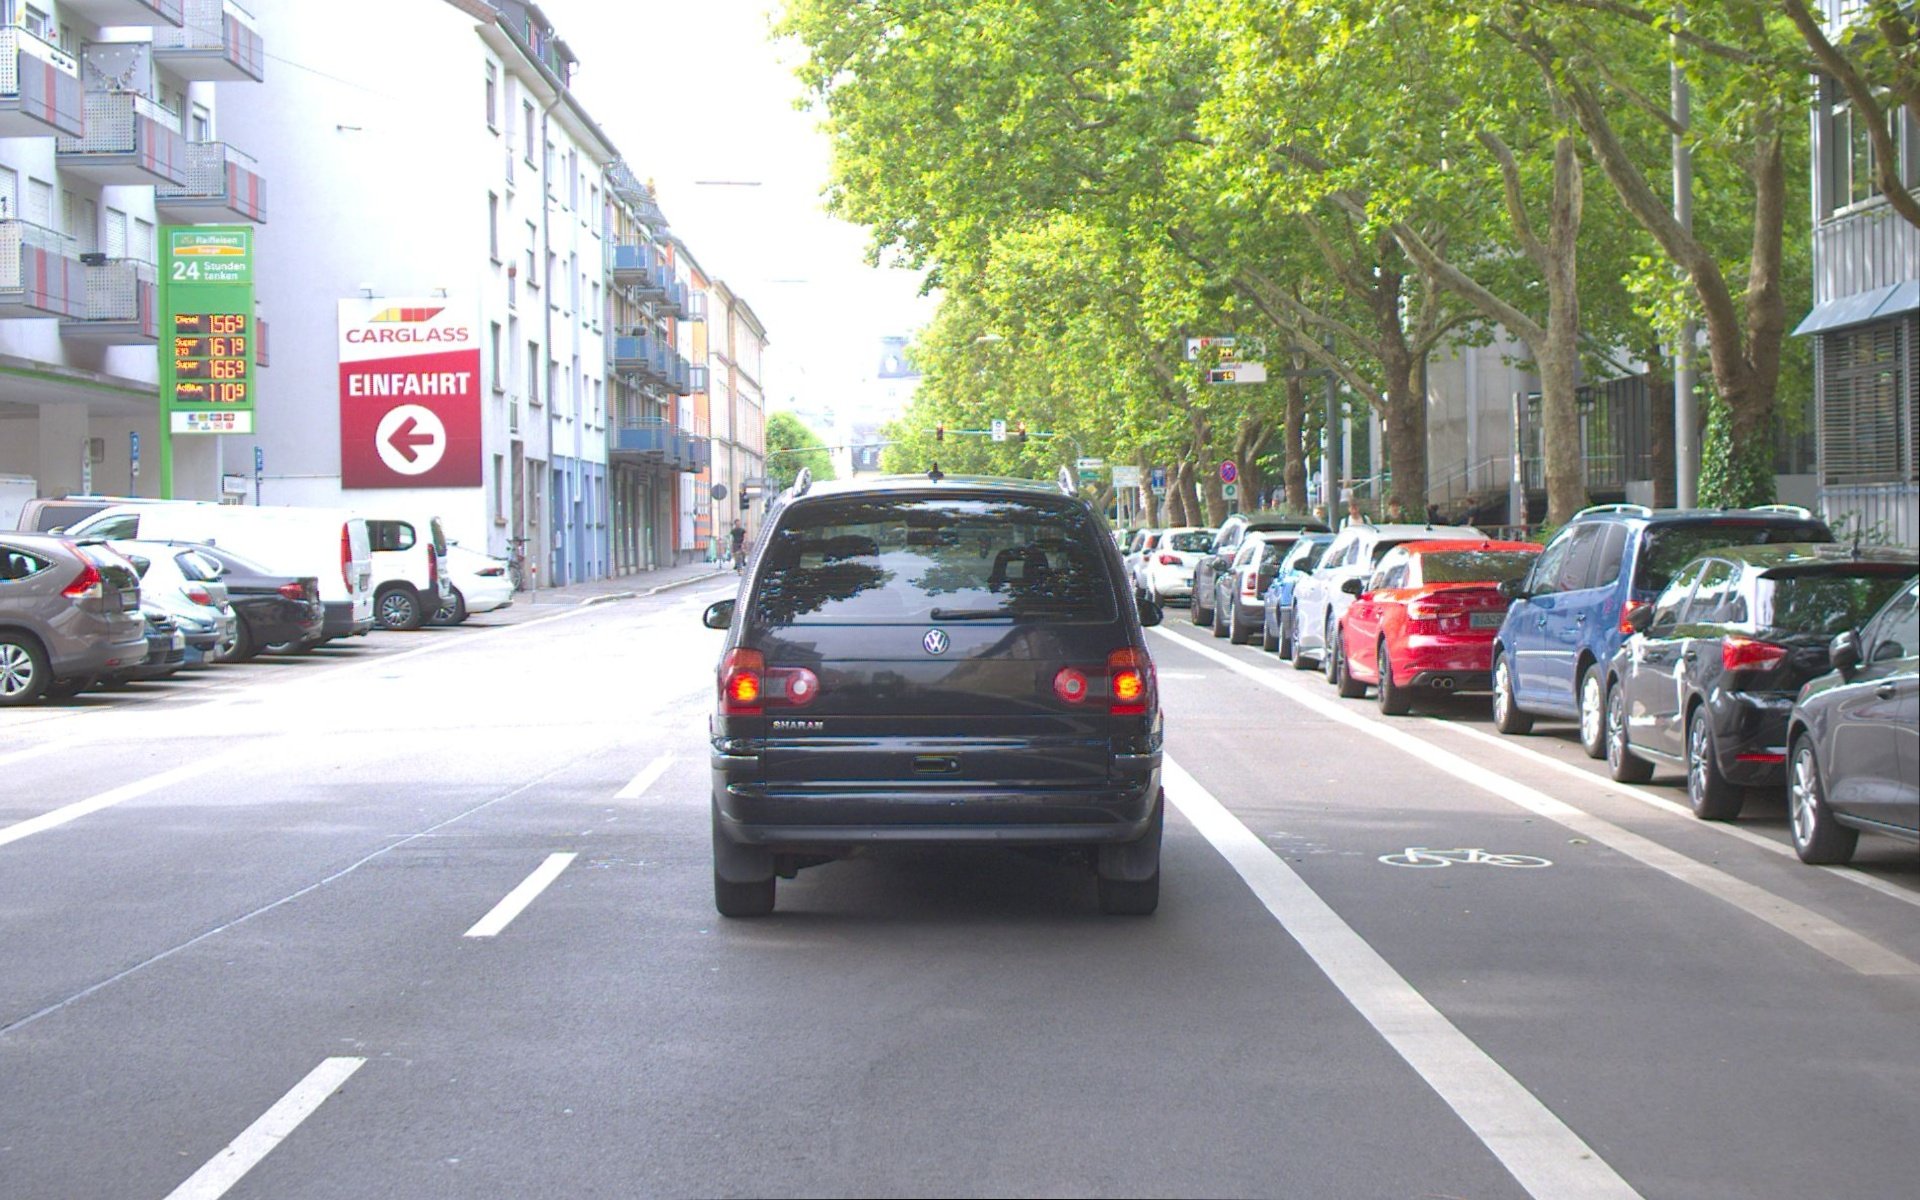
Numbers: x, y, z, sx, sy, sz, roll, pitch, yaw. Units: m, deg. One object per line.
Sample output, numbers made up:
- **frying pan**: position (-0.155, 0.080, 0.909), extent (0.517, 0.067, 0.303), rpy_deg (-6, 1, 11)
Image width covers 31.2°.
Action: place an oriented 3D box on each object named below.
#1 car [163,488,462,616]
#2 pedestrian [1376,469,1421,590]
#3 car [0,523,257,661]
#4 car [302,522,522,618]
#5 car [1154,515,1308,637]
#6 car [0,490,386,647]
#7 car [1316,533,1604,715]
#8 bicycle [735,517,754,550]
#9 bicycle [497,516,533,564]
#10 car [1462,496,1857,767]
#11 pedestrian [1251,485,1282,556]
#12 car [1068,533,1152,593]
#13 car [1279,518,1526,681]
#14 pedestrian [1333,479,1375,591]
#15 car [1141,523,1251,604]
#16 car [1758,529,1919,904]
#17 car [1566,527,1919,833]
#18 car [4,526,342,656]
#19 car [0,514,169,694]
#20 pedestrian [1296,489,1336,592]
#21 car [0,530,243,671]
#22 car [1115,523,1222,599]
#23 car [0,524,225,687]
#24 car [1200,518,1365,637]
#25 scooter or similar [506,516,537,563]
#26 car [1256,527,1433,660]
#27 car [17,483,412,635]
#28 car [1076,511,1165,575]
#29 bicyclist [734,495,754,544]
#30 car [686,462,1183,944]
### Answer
- **car**: position (-10.040, -0.751, 53.514), extent (4.307, 1.863, 1.824), rpy_deg (1, 1, -2)
- **pedestrian**: position (7.242, -1.171, 56.791), extent (0.643, 1.968, 0.692), rpy_deg (1, 3, 1)
- **car**: position (-10.118, -0.116, 39.585), extent (3.682, 1.480, 1.753), rpy_deg (1, 2, -1)
- **car**: position (-8.886, -0.493, 55.894), extent (3.342, 1.491, 1.596), rpy_deg (1, 1, -2)
- **car**: position (3.897, -0.394, 50.047), extent (1.668, 1.635, 4.504), rpy_deg (2, 1, -2)
- **car**: position (-9.839, -0.422, 44.205), extent (4.526, 1.872, 2.047), rpy_deg (1, 2, 1)
- **car**: position (4.126, 0.147, 29.010), extent (1.675, 1.389, 4.461), rpy_deg (0, 1, -1)
- **bicycle**: position (-7.317, -2.259, 116.784), extent (0.631, 1.030, 2.015), rpy_deg (0, -1, -3)
- **bicycle**: position (-9.673, -1.305, 74.783), extent (0.631, 1.030, 2.016), rpy_deg (0, 1, -4)
- **car**: position (4.762, 0.137, 24.033), extent (1.657, 1.645, 4.421), rpy_deg (1, 2, -2)
- **pedestrian**: position (7.921, -2.065, 88.907), extent (0.767, 1.825, 0.516), rpy_deg (0, 1, 1)
- **car**: position (3.657, -0.922, 84.292), extent (1.641, 1.390, 3.513), rpy_deg (1, 2, -4)
- **car**: position (4.349, -0.060, 34.467), extent (1.727, 1.511, 4.872), rpy_deg (0, 1, -1)
- **pedestrian**: position (6.549, -1.086, 57.136), extent (0.587, 1.832, 0.692), rpy_deg (1, 3, 1)
- **car**: position (4.292, -0.701, 63.102), extent (1.675, 1.389, 4.461), rpy_deg (1, 2, 0)
- **car**: position (4.603, 0.453, 14.185), extent (1.657, 1.417, 3.867), rpy_deg (-1, 2, -1)
- **car**: position (4.578, 0.359, 19.110), extent (1.657, 1.417, 3.947), rpy_deg (-1, 2, -1)
- **car**: position (-9.484, -0.130, 41.604), extent (3.682, 1.439, 1.753), rpy_deg (1, 2, -1)
- **car**: position (-9.925, -0.002, 32.867), extent (4.256, 1.600, 1.968), rpy_deg (1, 3, 1)
- **pedestrian**: position (5.905, -0.991, 57.094), extent (0.587, 1.696, 0.508), rpy_deg (1, 3, 1)
- **car**: position (-9.871, -0.025, 37.640), extent (3.682, 1.421, 1.753), rpy_deg (1, 2, -1)
- **car**: position (4.089, -0.792, 67.845), extent (1.641, 1.408, 3.417), rpy_deg (1, 2, -4)
- **car**: position (-9.761, 0.017, 35.434), extent (3.941, 1.564, 1.753), rpy_deg (1, 2, 2)
- **car**: position (4.145, -0.328, 44.708), extent (1.630, 1.465, 4.318), rpy_deg (0, 1, -1)
- **scooter or similar**: position (-9.815, -1.358, 76.922), extent (0.631, 1.030, 2.016), rpy_deg (-1, 2, -6)
- **car**: position (4.408, -0.113, 39.906), extent (1.622, 1.381, 4.000), rpy_deg (2, 2, 1)
- **car**: position (-10.092, -0.570, 46.810), extent (4.916, 1.896, 2.000), rpy_deg (2, 1, -1)
- **car**: position (3.672, -1.323, 79.127), extent (1.641, 1.408, 3.417), rpy_deg (1, 2, -4)
- **bicyclist**: position (-7.336, -2.736, 116.954), extent (0.653, 1.606, 0.656), rpy_deg (0, -1, -3)
- **car**: position (-0.136, 0.336, 14.414), extent (1.812, 1.760, 3.738), rpy_deg (0, 1, -1)
